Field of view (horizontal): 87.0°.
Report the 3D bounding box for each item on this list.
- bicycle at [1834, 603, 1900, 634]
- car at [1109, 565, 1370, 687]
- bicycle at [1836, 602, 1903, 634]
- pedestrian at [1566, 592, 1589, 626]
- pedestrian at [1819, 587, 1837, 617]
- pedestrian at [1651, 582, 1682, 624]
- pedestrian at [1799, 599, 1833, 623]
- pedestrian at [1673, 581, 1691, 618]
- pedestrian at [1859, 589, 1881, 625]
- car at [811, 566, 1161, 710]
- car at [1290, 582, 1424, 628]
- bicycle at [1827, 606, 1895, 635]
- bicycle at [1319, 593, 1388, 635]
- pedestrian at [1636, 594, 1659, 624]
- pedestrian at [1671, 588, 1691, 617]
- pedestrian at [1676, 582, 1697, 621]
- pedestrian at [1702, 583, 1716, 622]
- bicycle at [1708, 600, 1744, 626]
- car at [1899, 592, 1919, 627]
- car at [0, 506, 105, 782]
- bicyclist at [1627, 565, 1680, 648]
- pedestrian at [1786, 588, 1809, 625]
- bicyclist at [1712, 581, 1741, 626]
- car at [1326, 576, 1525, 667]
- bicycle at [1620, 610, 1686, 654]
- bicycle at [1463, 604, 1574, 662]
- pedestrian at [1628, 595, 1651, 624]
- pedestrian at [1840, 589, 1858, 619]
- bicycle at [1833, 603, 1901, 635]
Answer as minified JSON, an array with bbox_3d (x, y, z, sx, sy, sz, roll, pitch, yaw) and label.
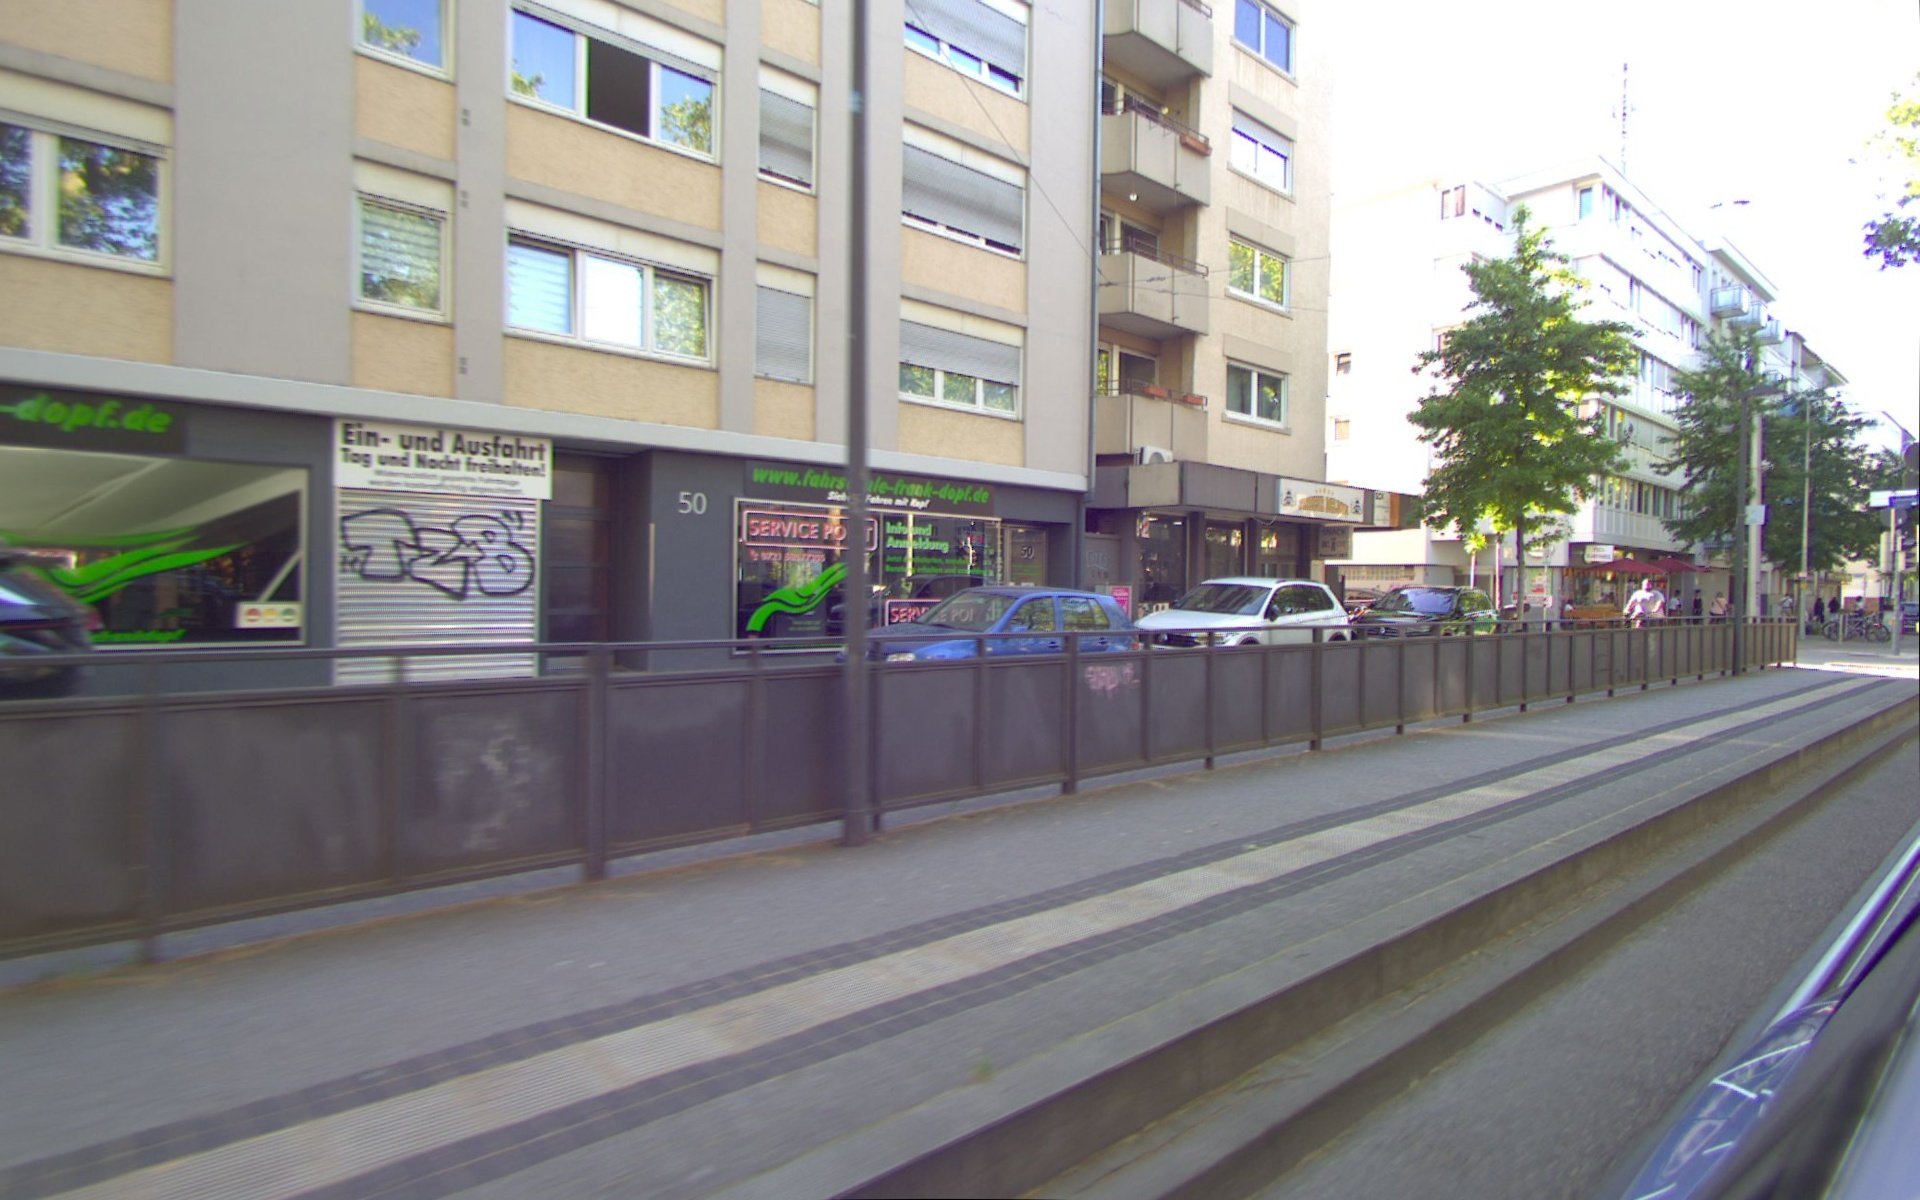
[{"bbox_3d":[33.640,0.672,37.548,1.814,1.114,0.474,0,0,42],"label":"bicycle"},{"bbox_3d":[4.416,0.316,15.628,4.338,1.626,1.803,-1,1,-41],"label":"car"},{"bbox_3d":[34.197,0.674,38.078,0.516,1.114,1.818,0,2,-41],"label":"bicycle"},{"bbox_3d":[23.628,0.336,38.711,0.703,1.303,0.536,0,0,-40],"label":"pedestrian"},{"bbox_3d":[51.258,0.127,59.753,0.919,1.698,0.597,0,3,-43],"label":"pedestrian"},{"bbox_3d":[28.477,0.108,40.789,0.666,1.680,0.815,0,0,-31],"label":"pedestrian"},{"bbox_3d":[38.109,0.499,45.049,0.648,1.040,1.002,0,0,-31],"label":"pedestrian"},{"bbox_3d":[32.363,-0.042,45.369,0.500,1.649,0.516,0,0,12],"label":"pedestrian"},{"bbox_3d":[47.561,0.350,52.890,0.529,1.875,0.664,0,0,1],"label":"pedestrian"},{"bbox_3d":[0.435,0.358,12.272,4.173,1.458,1.747,-1,1,-41],"label":"car"},{"bbox_3d":[14.686,0.136,37.626,1.933,1.612,4.255,-2,2,-41],"label":"car"},{"bbox_3d":[32.442,0.727,36.459,0.473,1.007,1.817,0,1,-43],"label":"bicycle"},{"bbox_3d":[11.851,0.405,30.502,0.503,1.223,1.915,-1,1,-44],"label":"bicycle"},{"bbox_3d":[27.525,0.364,40.529,0.513,1.190,0.659,0,0,-42],"label":"pedestrian"},{"bbox_3d":[32.381,0.117,45.468,0.501,1.292,0.624,0,0,12],"label":"pedestrian"},{"bbox_3d":[33.670,0.059,46.898,0.620,1.828,0.526,0,0,3],"label":"pedestrian"},{"bbox_3d":[34.924,0.102,47.205,0.481,1.818,0.432,0,0,-42],"label":"pedestrian"},{"bbox_3d":[30.013,0.497,39.644,1.985,0.975,0.678,-1,1,-39],"label":"bicycle"},{"bbox_3d":[47.528,0.481,49.580,4.254,1.606,1.763,0,5,-42],"label":"car"},{"bbox_3d":[-7.568,0.269,5.601,4.321,1.636,1.860,-1,1,-41],"label":"car"},{"bbox_3d":[16.039,0.134,23.416,1.080,1.854,0.768,0,0,-41],"label":"bicyclist"},{"bbox_3d":[41.380,0.310,50.029,0.585,1.806,0.988,0,0,22],"label":"pedestrian"},{"bbox_3d":[30.072,0.143,39.707,0.948,1.739,0.678,0,0,-39],"label":"bicyclist"},{"bbox_3d":[9.377,0.354,20.234,4.367,1.636,1.997,-1,1,-41],"label":"car"},{"bbox_3d":[16.049,0.721,23.423,1.905,0.949,0.790,-1,1,-41],"label":"bicycle"},{"bbox_3d":[12.467,0.719,22.674,0.668,1.202,2.134,0,1,-32],"label":"bicycle"},{"bbox_3d":[26.514,0.358,39.509,0.513,1.092,0.642,0,0,-42],"label":"pedestrian"},{"bbox_3d":[51.877,0.227,59.076,0.855,1.657,0.643,0,3,-43],"label":"pedestrian"},{"bbox_3d":[33.046,0.689,36.902,1.814,1.114,0.490,0,0,42],"label":"bicycle"}]
